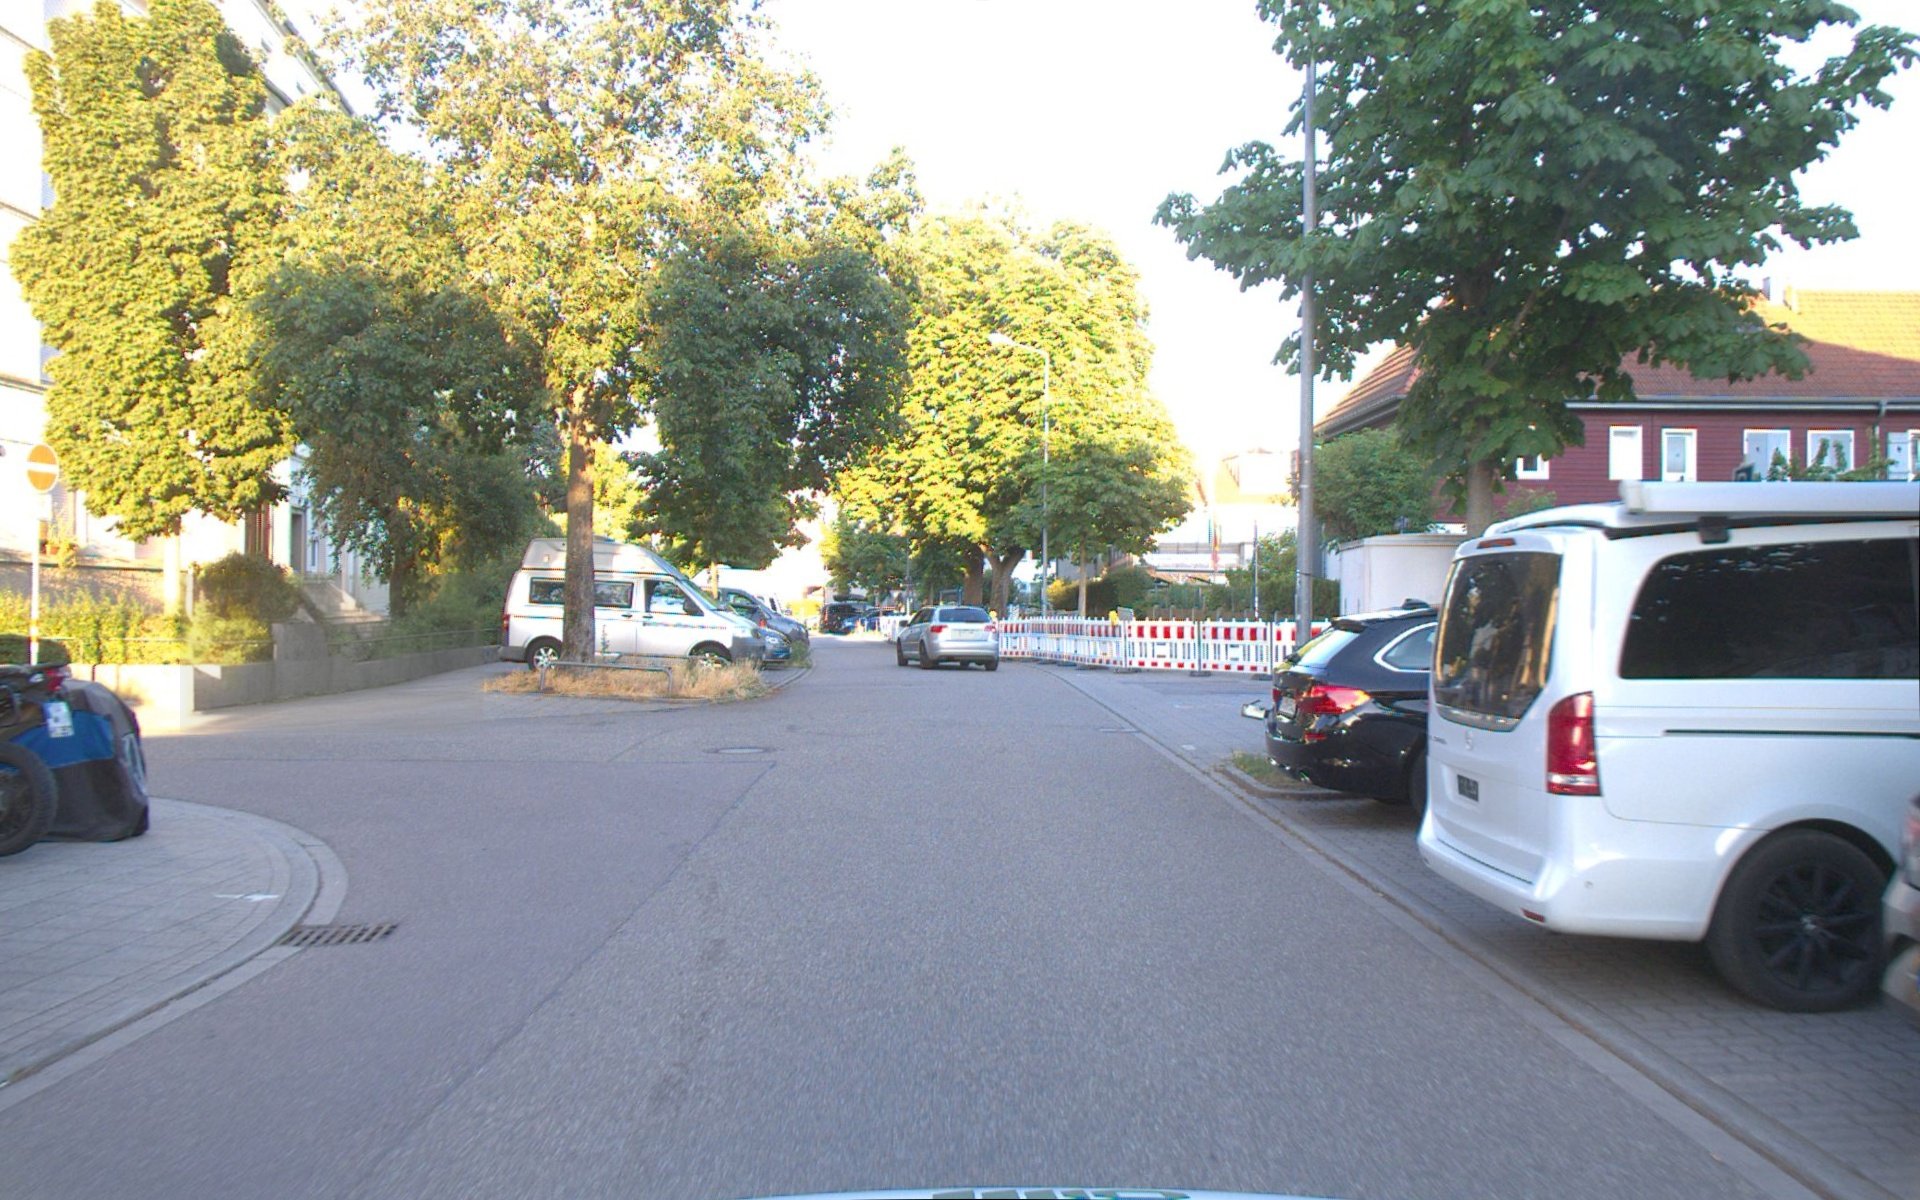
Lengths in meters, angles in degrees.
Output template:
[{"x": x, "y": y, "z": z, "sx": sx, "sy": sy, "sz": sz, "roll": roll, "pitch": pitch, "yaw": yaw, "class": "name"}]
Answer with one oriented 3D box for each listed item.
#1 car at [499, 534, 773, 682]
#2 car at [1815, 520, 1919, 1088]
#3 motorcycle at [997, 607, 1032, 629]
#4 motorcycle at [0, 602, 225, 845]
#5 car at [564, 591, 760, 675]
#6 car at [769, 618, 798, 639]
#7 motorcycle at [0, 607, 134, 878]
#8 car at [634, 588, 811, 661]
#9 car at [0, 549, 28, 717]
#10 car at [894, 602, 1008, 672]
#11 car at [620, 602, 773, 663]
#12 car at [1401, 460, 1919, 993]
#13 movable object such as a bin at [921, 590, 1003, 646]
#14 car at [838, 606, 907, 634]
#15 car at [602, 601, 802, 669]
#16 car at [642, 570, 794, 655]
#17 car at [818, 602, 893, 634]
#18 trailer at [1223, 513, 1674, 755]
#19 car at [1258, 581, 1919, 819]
[{"x": -5.909, "y": 0.157, "z": 30.567, "sx": 4.634, "sy": 2.614, "sz": 2.000, "roll": 0, "pitch": -1, "yaw": 0, "class": "car"}, {"x": 4.551, "y": 0.562, "z": 4.155, "sx": 3.905, "sy": 1.536, "sz": 1.776, "roll": 0, "pitch": -1, "yaw": 0, "class": "car"}, {"x": 2.925, "y": 0.959, "z": 88.407, "sx": 1.815, "sy": 1.125, "sz": 0.577, "roll": 1, "pitch": -1, "yaw": -22, "class": "motorcycle"}, {"x": -6.037, "y": 0.744, "z": 10.503, "sx": 2.333, "sy": 1.461, "sz": 0.881, "roll": 0, "pitch": -1, "yaw": 3, "class": "motorcycle"}, {"x": -6.088, "y": 0.676, "z": 34.065, "sx": 3.728, "sy": 1.549, "sz": 1.651, "roll": 2, "pitch": -1, "yaw": -3, "class": "car"}, {"x": -13.141, "y": 2.079, "z": 123.018, "sx": 1.700, "sy": 1.510, "sz": 3.545, "roll": 1, "pitch": -1, "yaw": -13, "class": "car"}, {"x": -5.973, "y": 0.767, "z": 9.388, "sx": 2.184, "sy": 1.461, "sz": 0.774, "roll": 0, "pitch": -1, "yaw": 3, "class": "motorcycle"}, {"x": -6.364, "y": 0.653, "z": 44.624, "sx": 4.584, "sy": 1.906, "sz": 1.997, "roll": 0, "pitch": -1, "yaw": -7, "class": "car"}, {"x": -13.964, "y": 0.380, "z": 19.751, "sx": 4.483, "sy": 2.049, "sz": 2.000, "roll": 0, "pitch": -1, "yaw": -1, "class": "car"}, {"x": -0.263, "y": 0.808, "z": 37.858, "sx": 1.776, "sy": 1.514, "sz": 3.986, "roll": 1, "pitch": 0, "yaw": -13, "class": "car"}, {"x": -6.639, "y": 0.826, "z": 41.990, "sx": 3.696, "sy": 1.464, "sz": 1.653, "roll": 1, "pitch": -1, "yaw": -6, "class": "car"}, {"x": 4.100, "y": 0.477, "z": 7.055, "sx": 3.905, "sy": 1.937, "sz": 2.000, "roll": 0, "pitch": -1, "yaw": 0, "class": "car"}, {"x": 0.041, "y": 0.812, "z": 74.940, "sx": 2.583, "sy": 2.445, "sz": 5.178, "roll": 1, "pitch": -1, "yaw": -14, "class": "movable object such as a bin"}, {"x": -5.353, "y": 1.227, "z": 101.187, "sx": 3.928, "sy": 1.680, "sz": 1.754, "roll": 1, "pitch": -1, "yaw": -20, "class": "car"}, {"x": -5.680, "y": 0.768, "z": 36.701, "sx": 4.158, "sy": 1.418, "sz": 1.684, "roll": 1, "pitch": -1, "yaw": -1, "class": "car"}, {"x": -7.223, "y": 0.387, "z": 49.705, "sx": 4.416, "sy": 2.473, "sz": 1.997, "roll": 0, "pitch": -1, "yaw": -7, "class": "car"}, {"x": -6.690, "y": 1.159, "z": 105.906, "sx": 4.485, "sy": 2.058, "sz": 2.091, "roll": 1, "pitch": -1, "yaw": -18, "class": "car"}, {"x": 4.722, "y": 0.324, "z": 16.438, "sx": 3.905, "sy": 2.226, "sz": 2.000, "roll": 0, "pitch": -1, "yaw": 0, "class": "trailer"}, {"x": 4.425, "y": 0.658, "z": 11.684, "sx": 4.336, "sy": 1.525, "sz": 1.773, "roll": 0, "pitch": -1, "yaw": 0, "class": "car"}]
